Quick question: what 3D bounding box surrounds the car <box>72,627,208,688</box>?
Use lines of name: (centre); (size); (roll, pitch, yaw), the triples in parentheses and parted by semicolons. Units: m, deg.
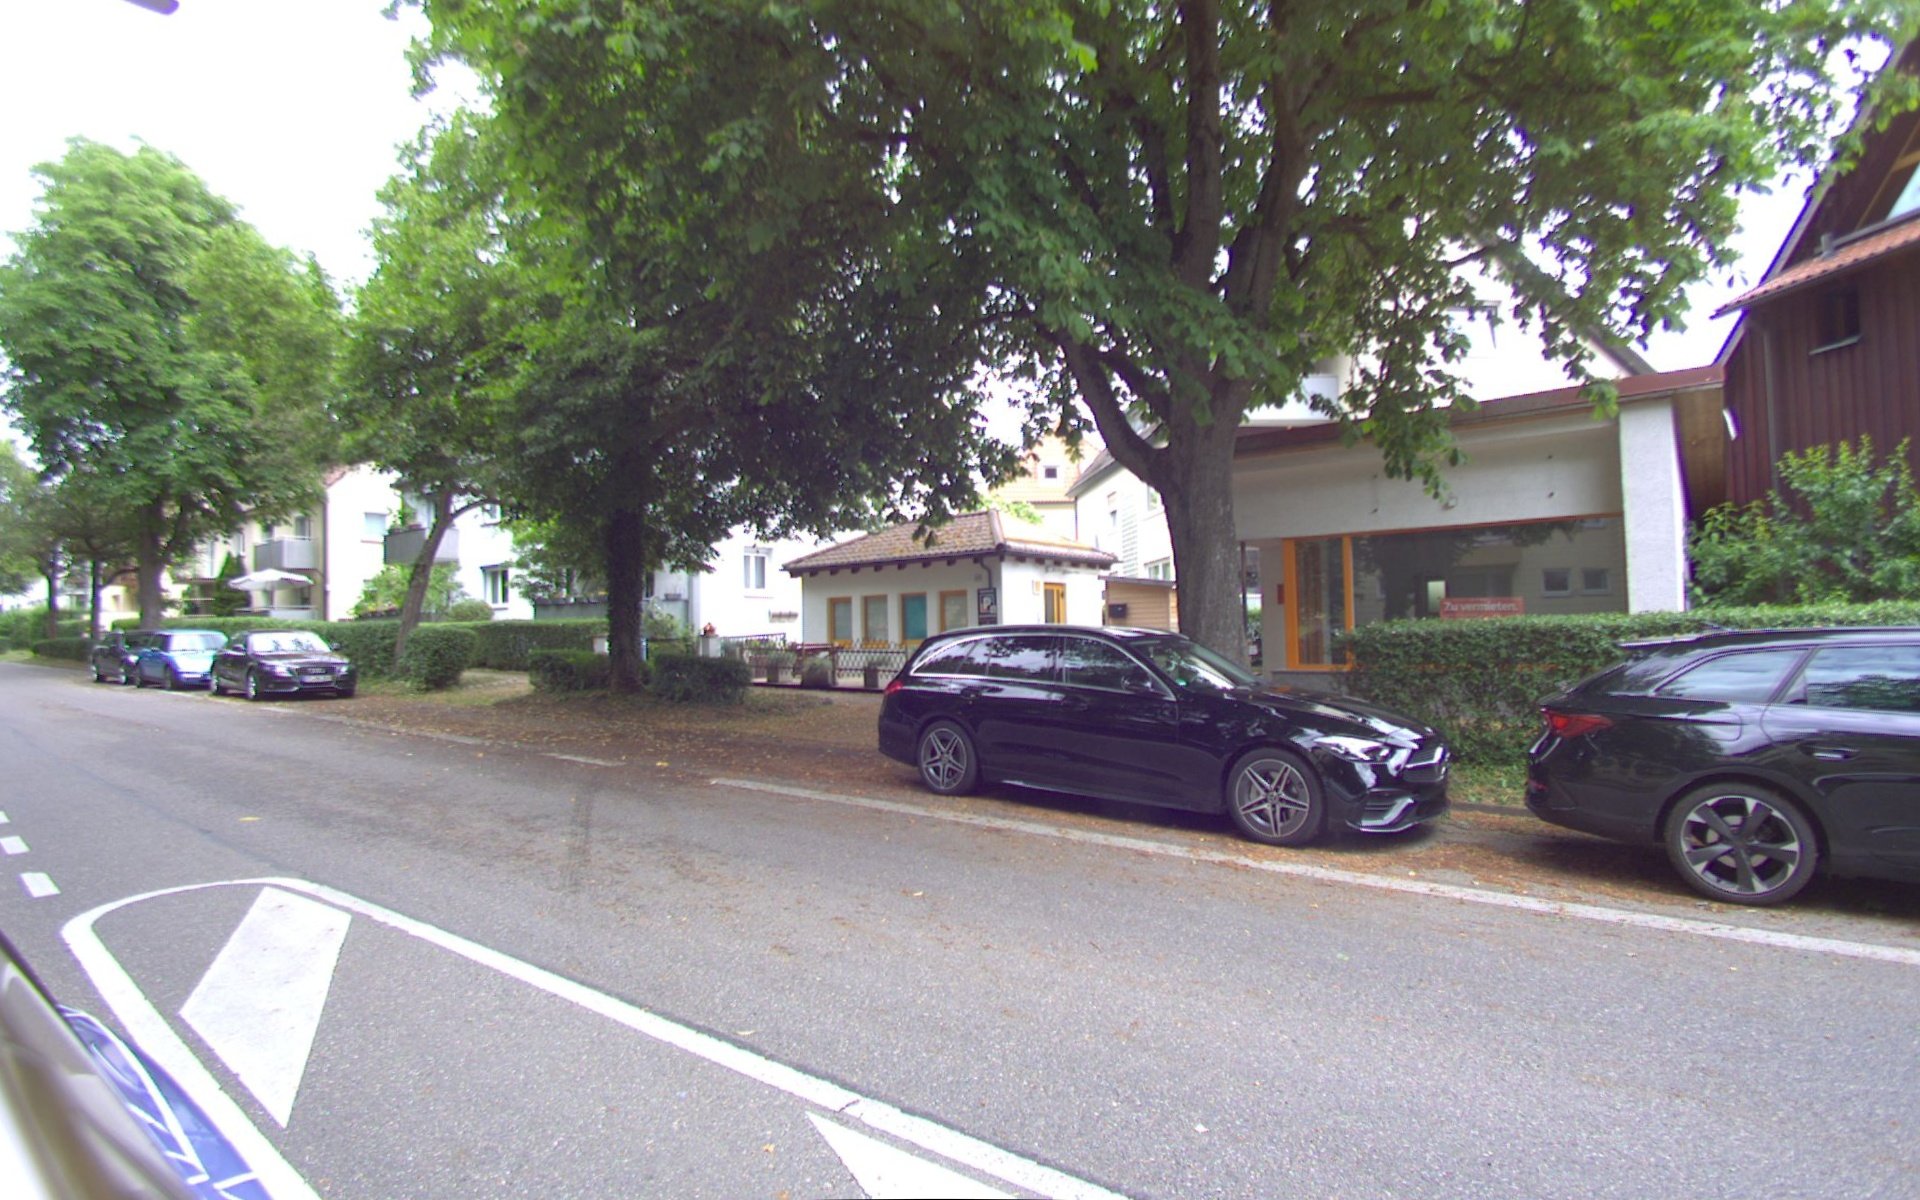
car: (-22.608, 1.555, 27.850); (4.558, 1.545, 1.866); (-2, -3, 37)

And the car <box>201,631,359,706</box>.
car: (-14.225, 1.372, 21.091); (4.169, 1.414, 1.713); (-2, -3, 41)

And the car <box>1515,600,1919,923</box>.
car: (5.448, 0.755, 4.986); (4.536, 1.497, 1.674); (-2, -3, 38)

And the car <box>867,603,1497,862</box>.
car: (1.552, 0.863, 8.199); (4.612, 1.511, 1.973); (-2, -3, 41)

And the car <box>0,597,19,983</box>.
car: (-6.121, 0.781, 4.766); (4.612, 1.511, 1.973); (-2, -3, 41)

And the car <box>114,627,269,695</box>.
car: (-18.919, 1.457, 24.858); (4.558, 1.512, 1.866); (-2, -3, 37)
